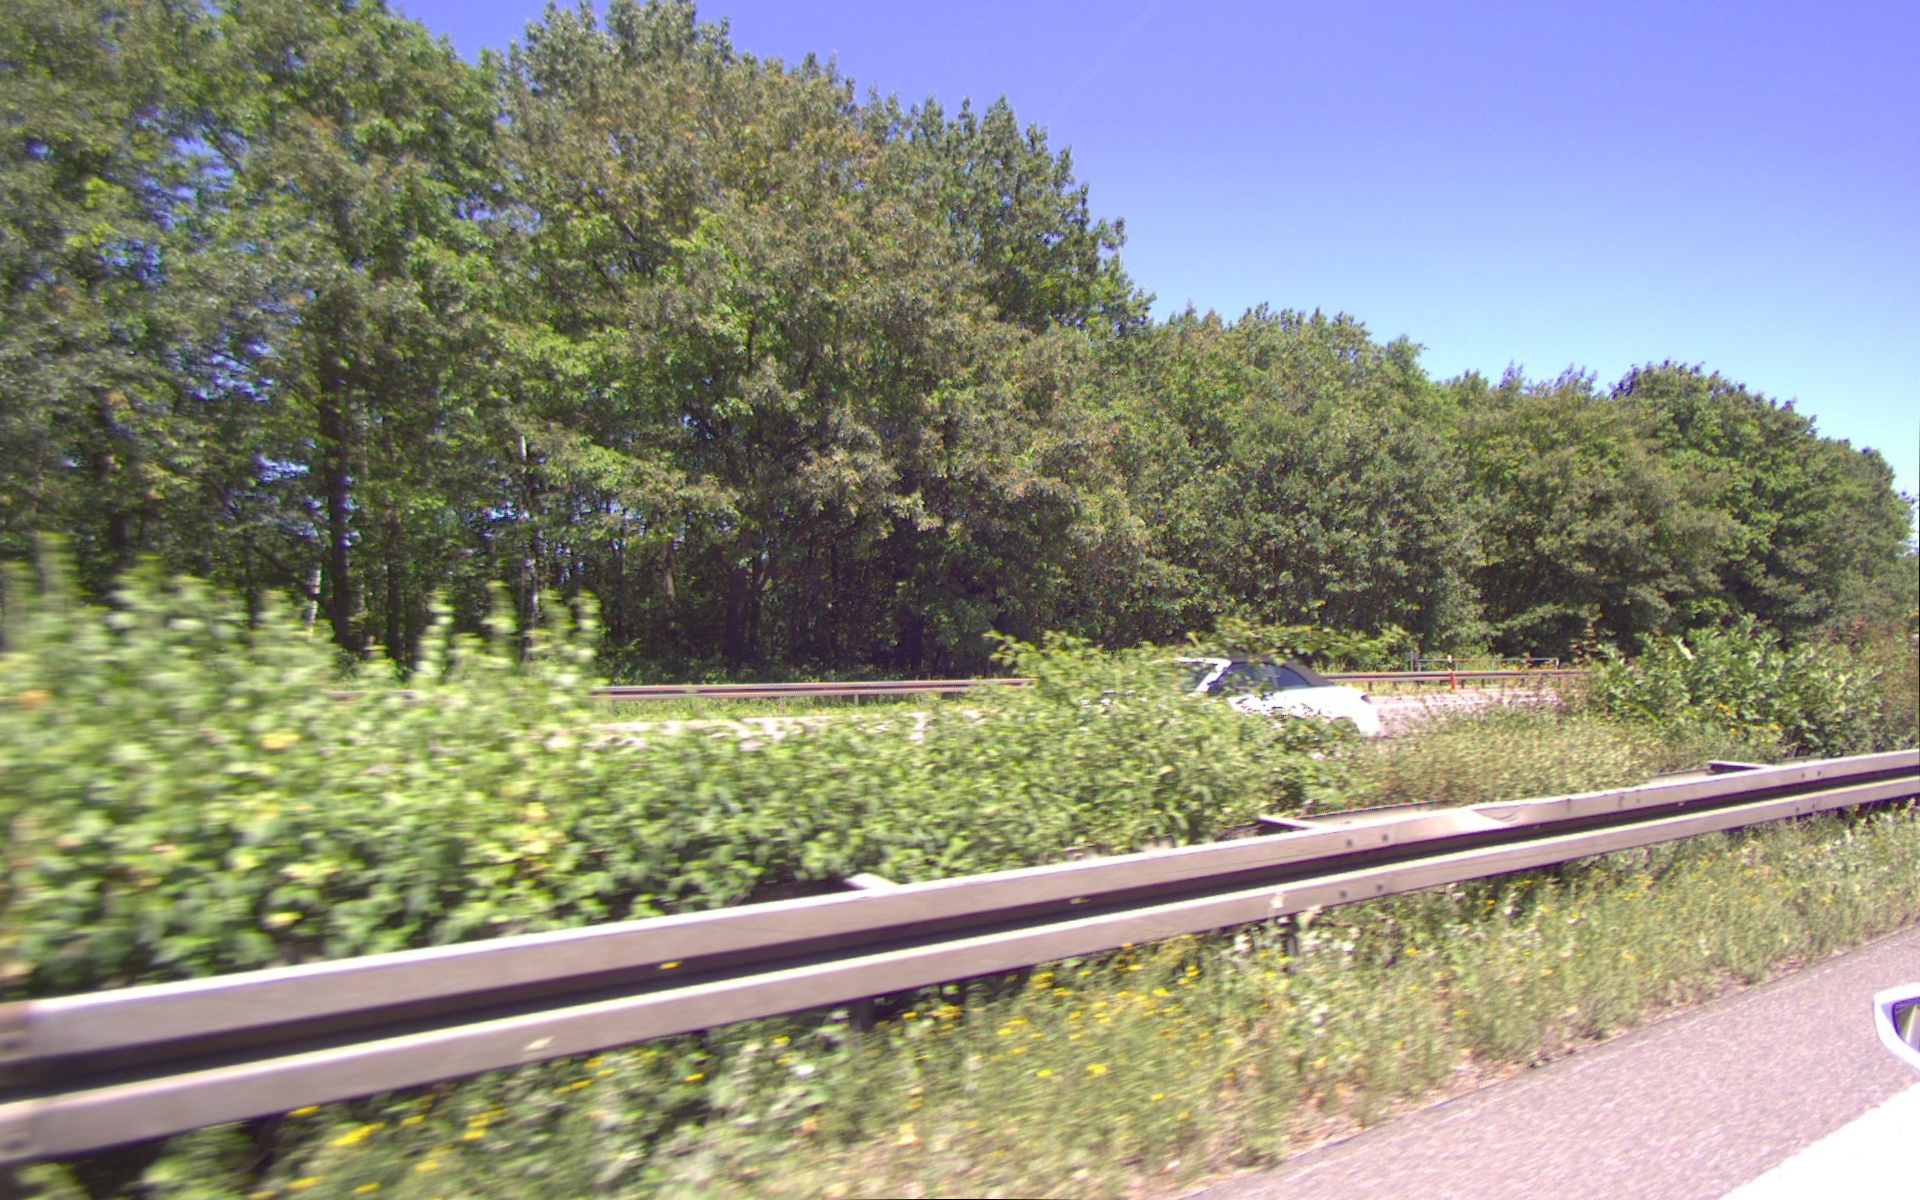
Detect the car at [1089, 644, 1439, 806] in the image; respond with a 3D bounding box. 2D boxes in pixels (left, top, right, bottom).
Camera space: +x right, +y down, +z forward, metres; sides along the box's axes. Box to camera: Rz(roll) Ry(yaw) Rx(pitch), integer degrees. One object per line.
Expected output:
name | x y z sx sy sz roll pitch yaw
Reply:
car | 3.658 1.419 11.971 3.953 1.648 1.679 2 -8 -30
